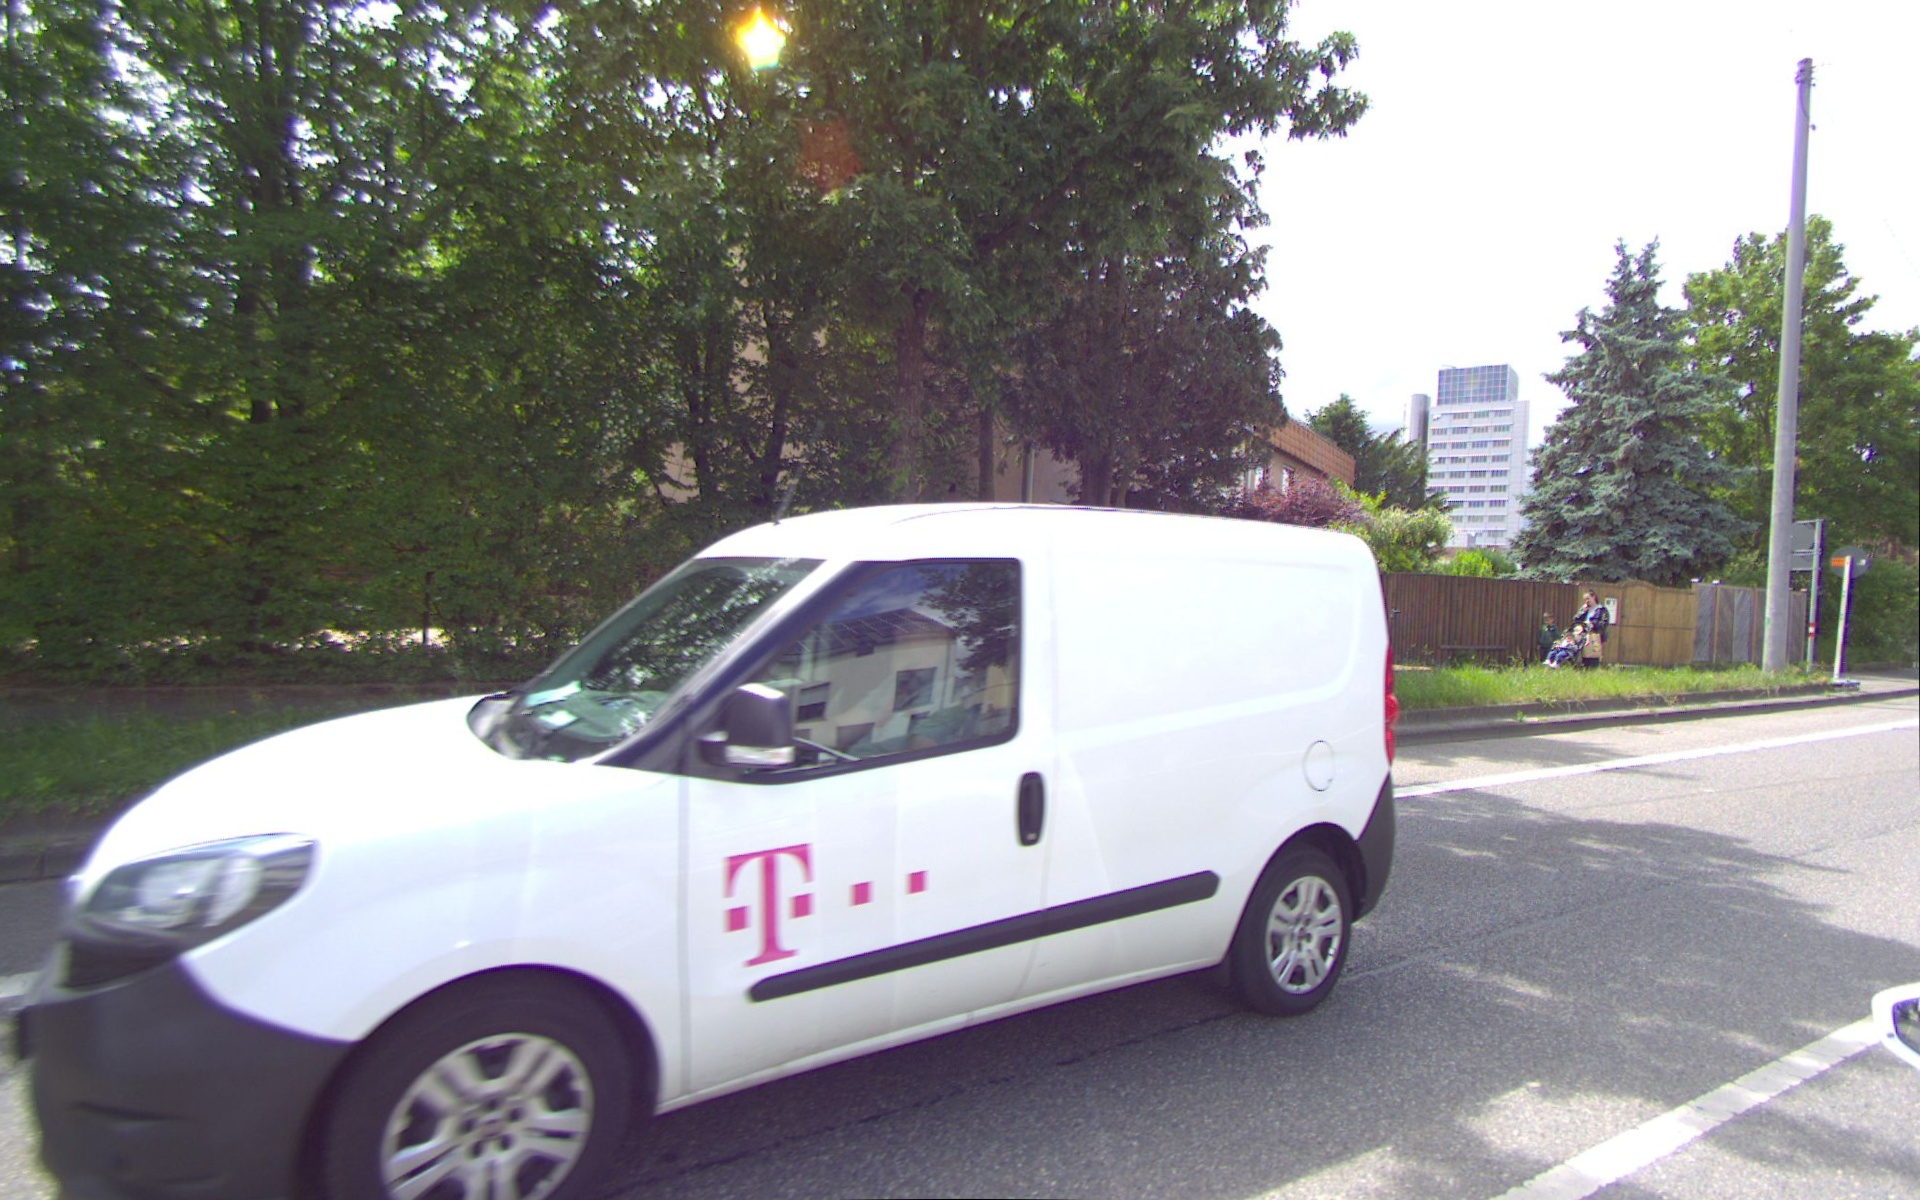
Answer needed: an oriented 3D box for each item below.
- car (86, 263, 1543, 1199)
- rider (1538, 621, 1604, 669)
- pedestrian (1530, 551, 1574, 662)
[{"bbox_3d":[-0.022,0.429,3.715,4.542,1.900,1.838,2,-1,-32],"label":"car"},{"bbox_3d":[10.754,0.791,17.682,0.683,0.744,0.724,3,3,-35],"label":"rider"},{"bbox_3d":[11.111,0.122,18.847,0.410,2.040,0.400,3,3,-31],"label":"pedestrian"}]
